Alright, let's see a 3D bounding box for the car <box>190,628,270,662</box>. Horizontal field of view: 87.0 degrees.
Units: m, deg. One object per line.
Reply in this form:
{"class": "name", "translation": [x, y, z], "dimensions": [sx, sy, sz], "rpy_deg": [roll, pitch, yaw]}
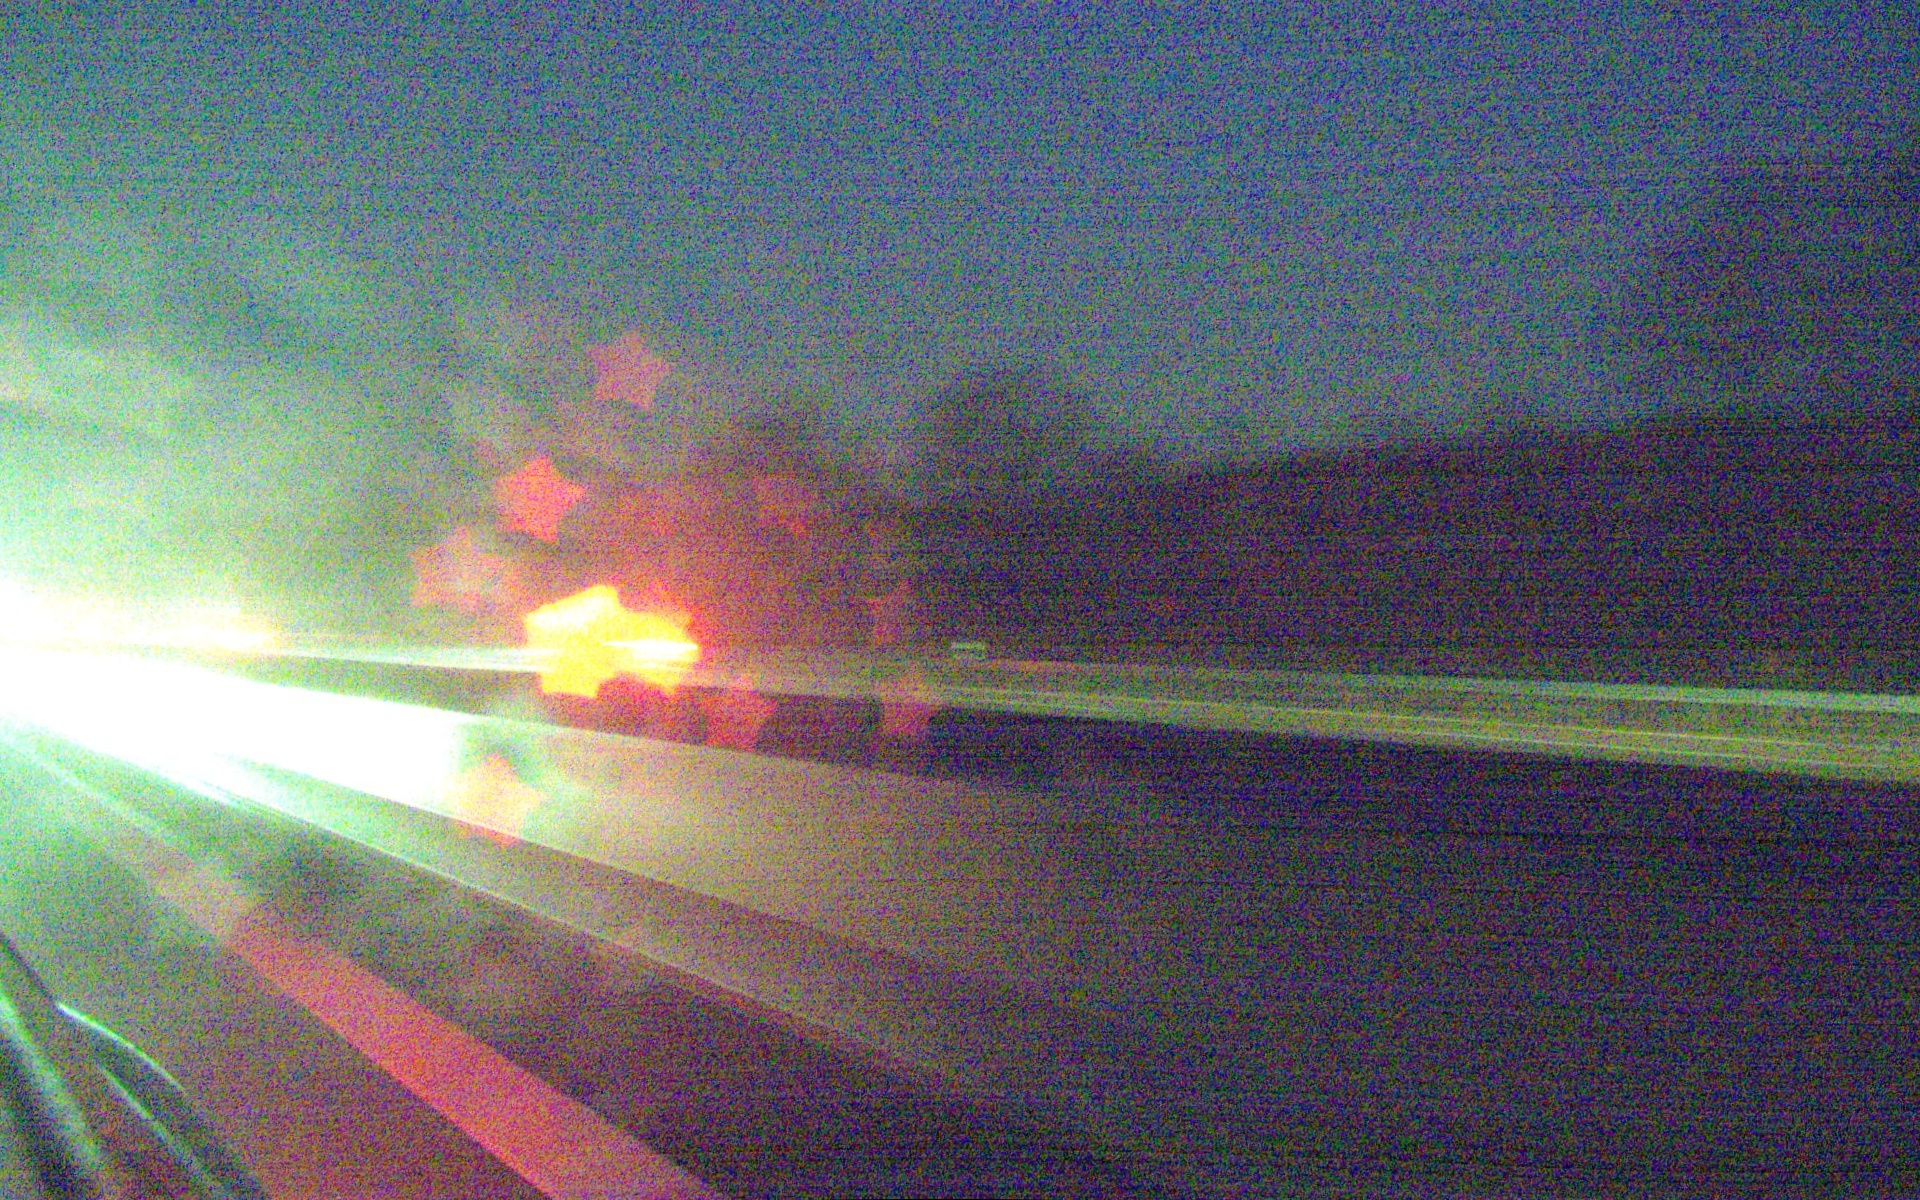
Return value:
{"class": "car", "translation": [-32.750, 1.977, 45.386], "dimensions": [4.435, 1.451, 1.972], "rpy_deg": [-1, -2, 42]}

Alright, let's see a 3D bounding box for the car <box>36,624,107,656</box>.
{"class": "car", "translation": [-42.093, 1.879, 47.925], "dimensions": [4.435, 1.451, 1.972], "rpy_deg": [-1, -2, 42]}

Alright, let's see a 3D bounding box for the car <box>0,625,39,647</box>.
{"class": "car", "translation": [-80.931, 3.094, 87.036], "dimensions": [5.233, 1.752, 1.973], "rpy_deg": [-1, 1, 41]}

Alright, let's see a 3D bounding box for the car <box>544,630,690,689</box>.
{"class": "car", "translation": [-10.080, 1.687, 29.582], "dimensions": [4.529, 1.571, 1.974], "rpy_deg": [-2, -2, 39]}

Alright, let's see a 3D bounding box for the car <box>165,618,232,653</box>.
{"class": "car", "translation": [-46.401, 2.122, 61.631], "dimensions": [5.354, 2.029, 1.974], "rpy_deg": [-1, -2, 39]}
